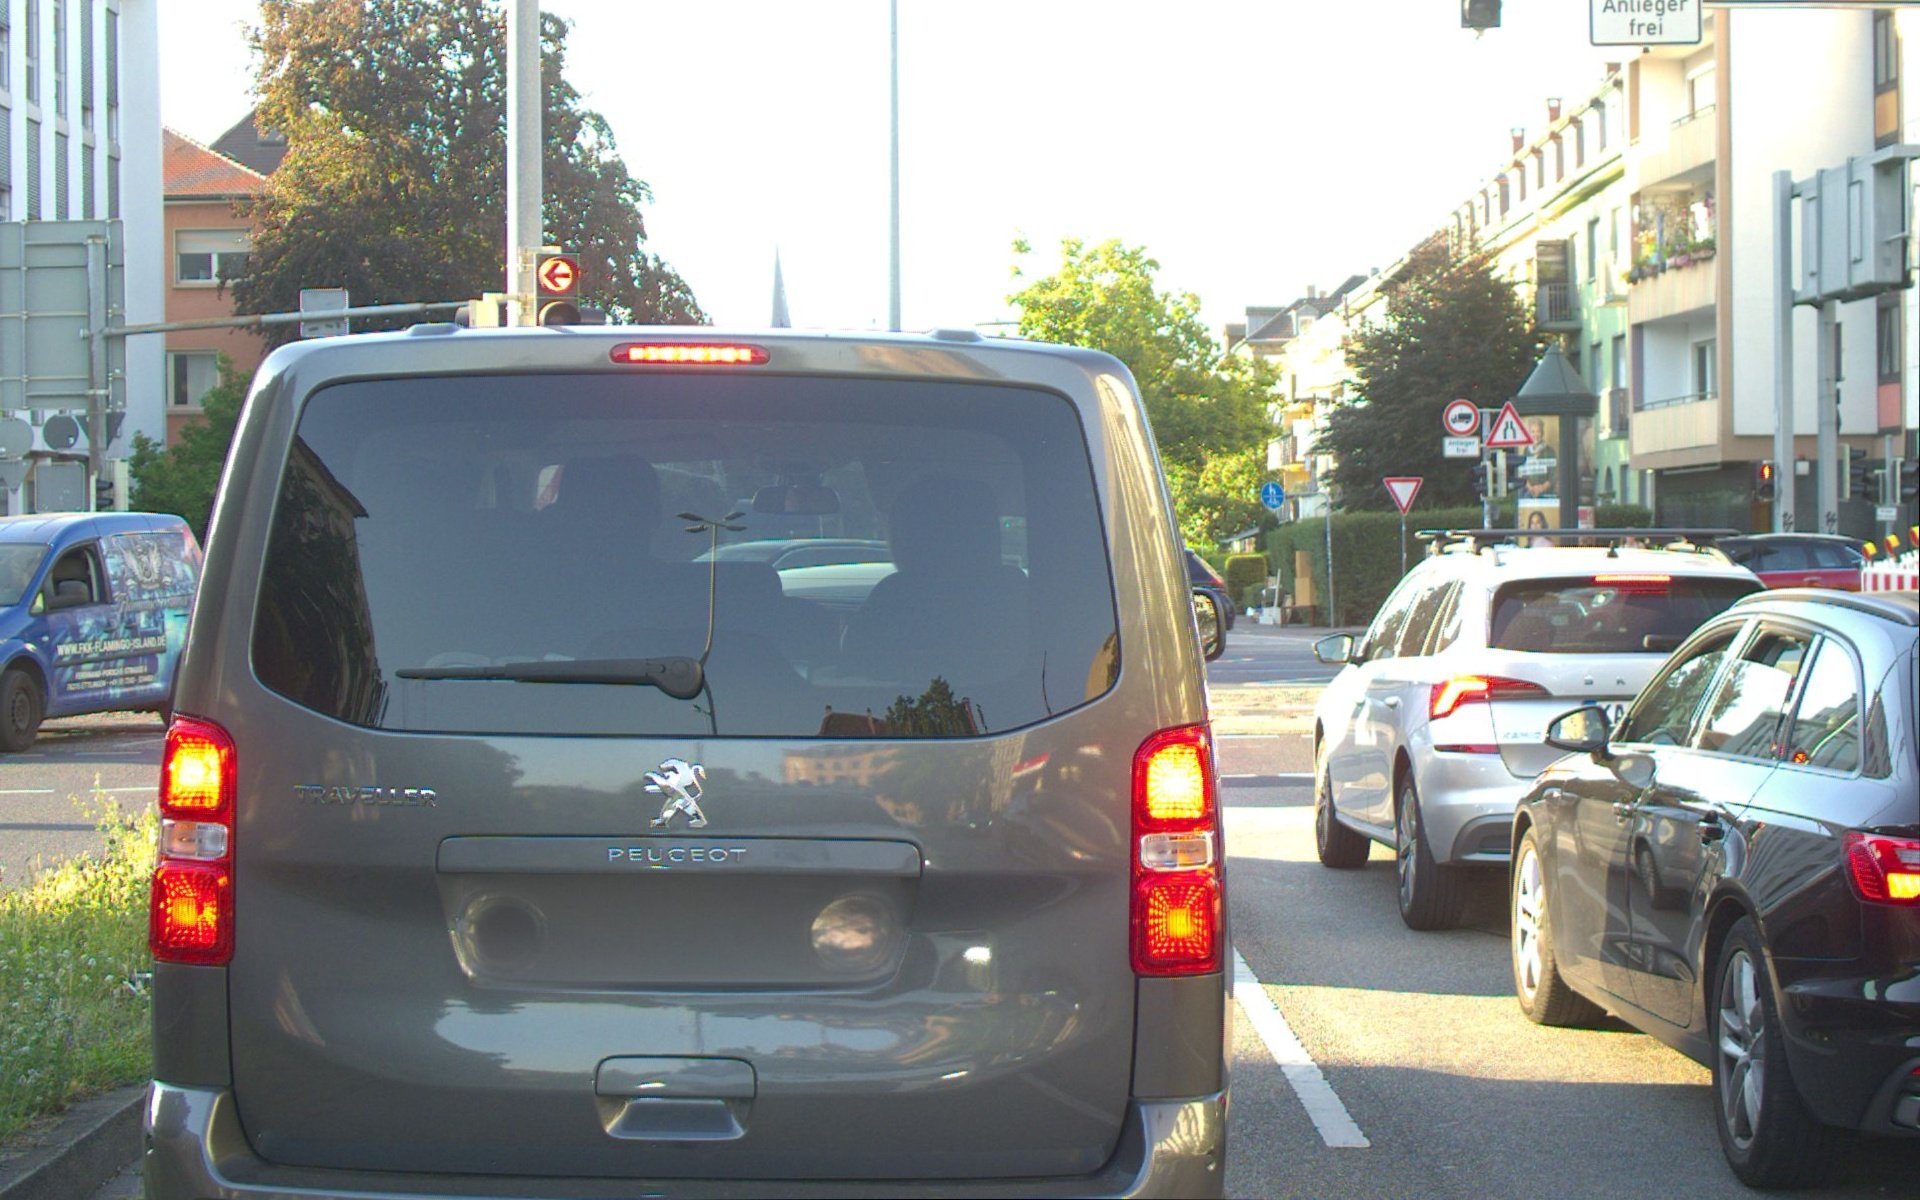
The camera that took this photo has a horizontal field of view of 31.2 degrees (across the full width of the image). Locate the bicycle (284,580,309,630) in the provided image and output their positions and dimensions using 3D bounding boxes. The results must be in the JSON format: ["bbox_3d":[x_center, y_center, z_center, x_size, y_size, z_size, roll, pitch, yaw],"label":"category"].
[{"bbox_3d":[-12.996,0.091,67.350,0.291,0.945,1.072,0,1,-1],"label":"bicycle"}]

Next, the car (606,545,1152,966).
[{"bbox_3d":[-0.319,0.538,14.625,1.993,1.525,4.000,0,1,-1],"label":"car"}]

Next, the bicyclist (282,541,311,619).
[{"bbox_3d":[-12.995,-0.387,67.331,0.462,1.516,0.469,0,1,-1],"label":"bicyclist"}]

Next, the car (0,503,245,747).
[{"bbox_3d":[-7.610,0.159,27.260,1.995,1.811,4.226,0,1,17],"label":"car"}]

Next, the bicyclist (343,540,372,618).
[{"bbox_3d":[-11.989,-0.422,68.363,0.477,1.550,0.509,0,1,-1],"label":"bicyclist"}]

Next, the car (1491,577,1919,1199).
[{"bbox_3d":[2.627,0.682,9.221,1.681,1.416,4.214,1,1,-1],"label":"car"}]

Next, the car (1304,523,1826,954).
[{"bbox_3d":[2.475,0.493,14.881,1.528,1.608,3.745,1,1,-1],"label":"car"}]

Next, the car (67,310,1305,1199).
[{"bbox_3d":[-0.458,0.455,7.625,1.907,1.857,4.527,1,1,-1],"label":"car"}]

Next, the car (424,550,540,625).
[{"bbox_3d":[-9.430,-0.268,68.088,1.856,1.415,4.001,-1,1,-2],"label":"car"}]

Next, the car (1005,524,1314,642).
[{"bbox_3d":[2.781,-0.242,48.494,4.117,1.588,1.795,-1,0,-5],"label":"car"}]

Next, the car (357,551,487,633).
[{"bbox_3d":[-9.736,-0.166,62.450,1.856,1.415,4.001,-1,1,-2],"label":"car"}]

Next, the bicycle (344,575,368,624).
[{"bbox_3d":[-12.021,-0.017,68.432,0.276,0.945,1.072,0,1,-1],"label":"bicycle"}]

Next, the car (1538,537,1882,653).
[{"bbox_3d":[9.622,-0.085,44.174,3.986,1.413,1.682,-1,1,-15],"label":"car"}]
